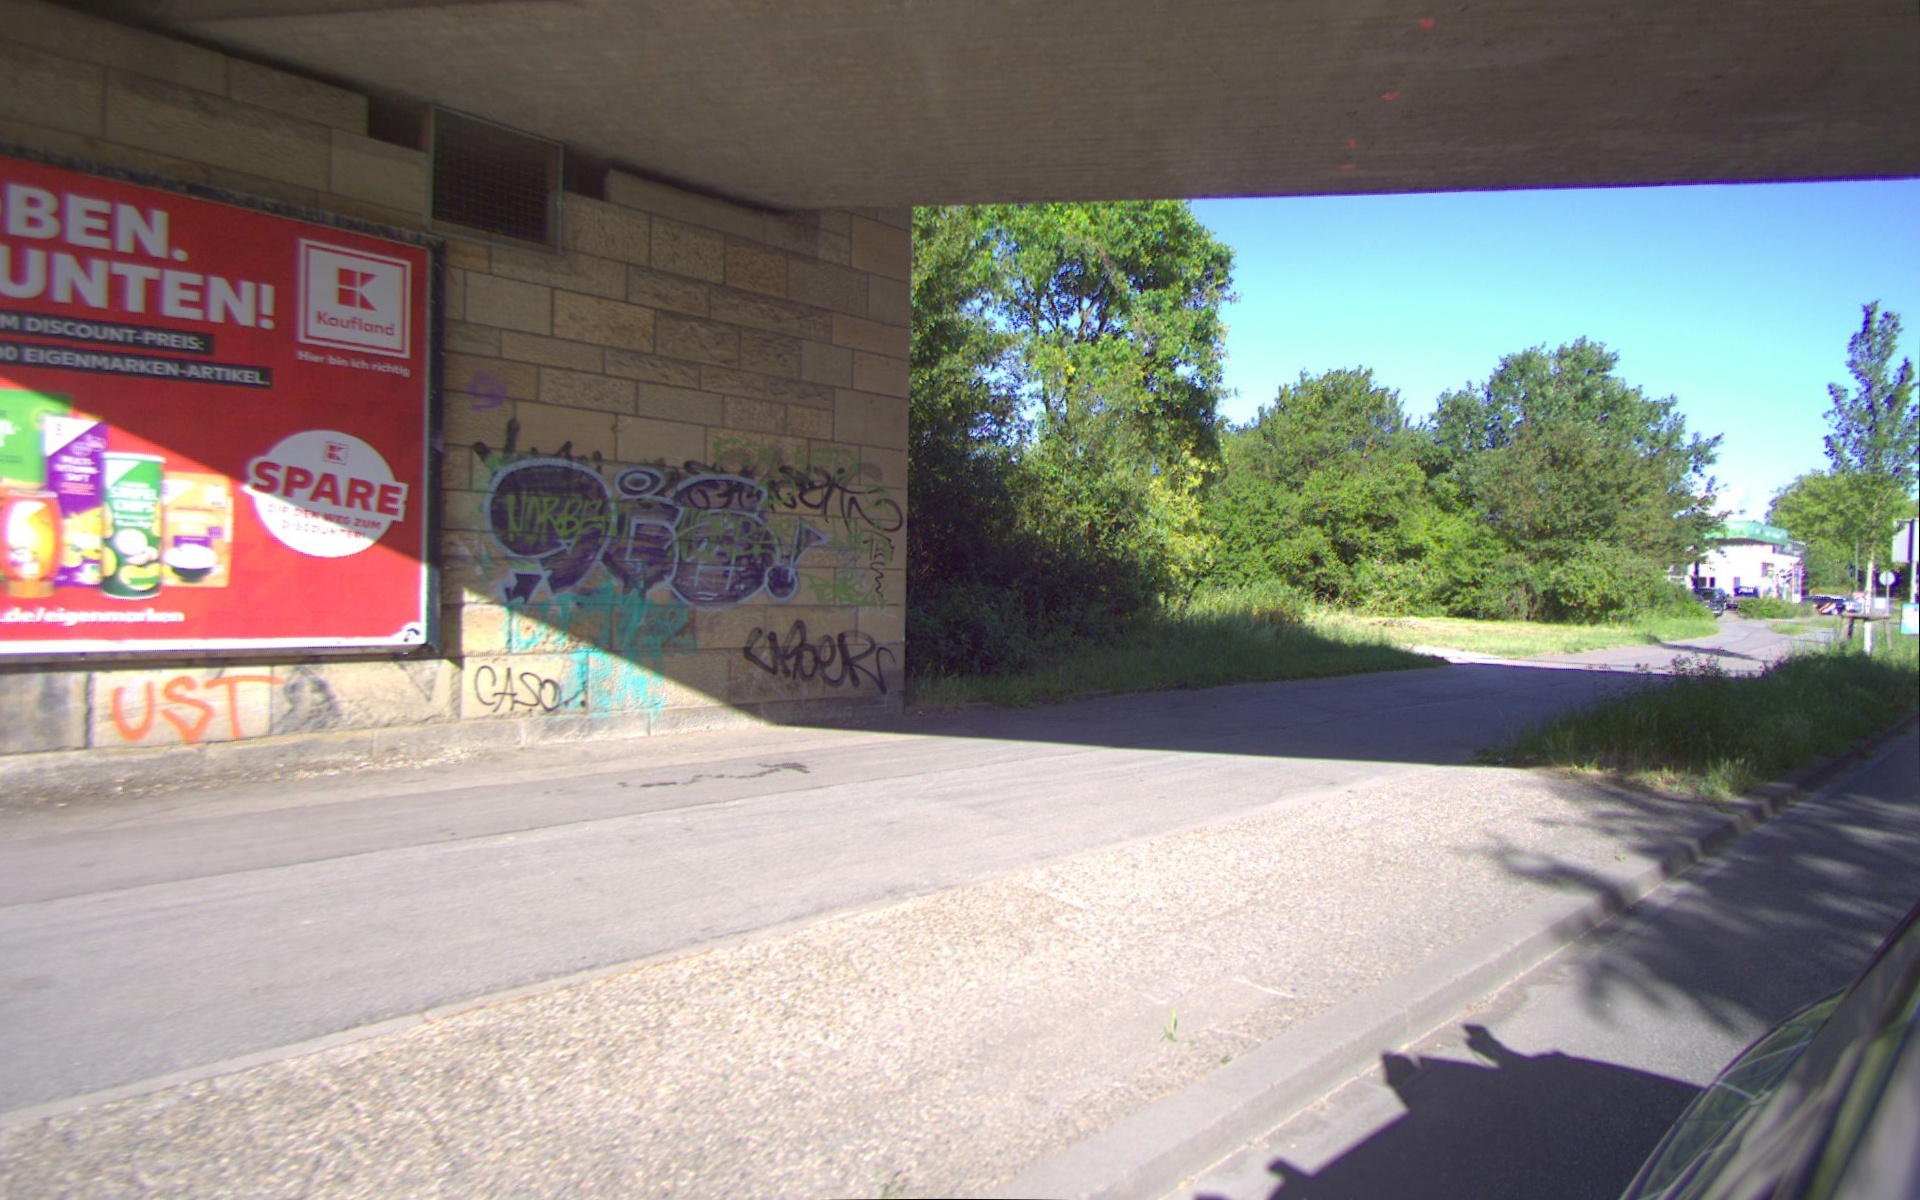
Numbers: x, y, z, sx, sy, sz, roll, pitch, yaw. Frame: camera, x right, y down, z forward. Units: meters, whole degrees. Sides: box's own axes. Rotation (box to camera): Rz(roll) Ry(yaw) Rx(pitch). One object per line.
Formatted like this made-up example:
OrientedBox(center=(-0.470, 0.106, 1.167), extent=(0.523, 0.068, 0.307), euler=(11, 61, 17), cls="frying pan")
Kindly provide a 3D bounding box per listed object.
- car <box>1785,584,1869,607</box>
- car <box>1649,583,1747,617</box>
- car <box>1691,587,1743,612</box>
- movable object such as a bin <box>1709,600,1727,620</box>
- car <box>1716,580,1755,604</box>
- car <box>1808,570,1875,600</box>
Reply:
OrientedBox(center=(68.208, -0.357, 79.660), extent=(4.748, 1.549, 1.900), euler=(3, 3, 3), cls="car")
OrientedBox(center=(43.037, -0.042, 59.155), extent=(1.764, 1.659, 4.572), euler=(1, 3, -11), cls="car")
OrientedBox(center=(49.583, -0.051, 66.248), extent=(4.172, 1.592, 1.749), euler=(0, 1, -39), cls="car")
OrientedBox(center=(41.372, 0.546, 55.244), extent=(0.572, 1.088, 0.509), euler=(0, 0, 8), cls="movable object such as a bin")
OrientedBox(center=(65.965, -0.715, 86.078), extent=(4.146, 1.883, 1.896), euler=(-1, 5, -43), cls="car")
OrientedBox(center=(75.446, -1.324, 86.672), extent=(1.652, 2.036, 4.012), euler=(4, 7, -9), cls="car")
